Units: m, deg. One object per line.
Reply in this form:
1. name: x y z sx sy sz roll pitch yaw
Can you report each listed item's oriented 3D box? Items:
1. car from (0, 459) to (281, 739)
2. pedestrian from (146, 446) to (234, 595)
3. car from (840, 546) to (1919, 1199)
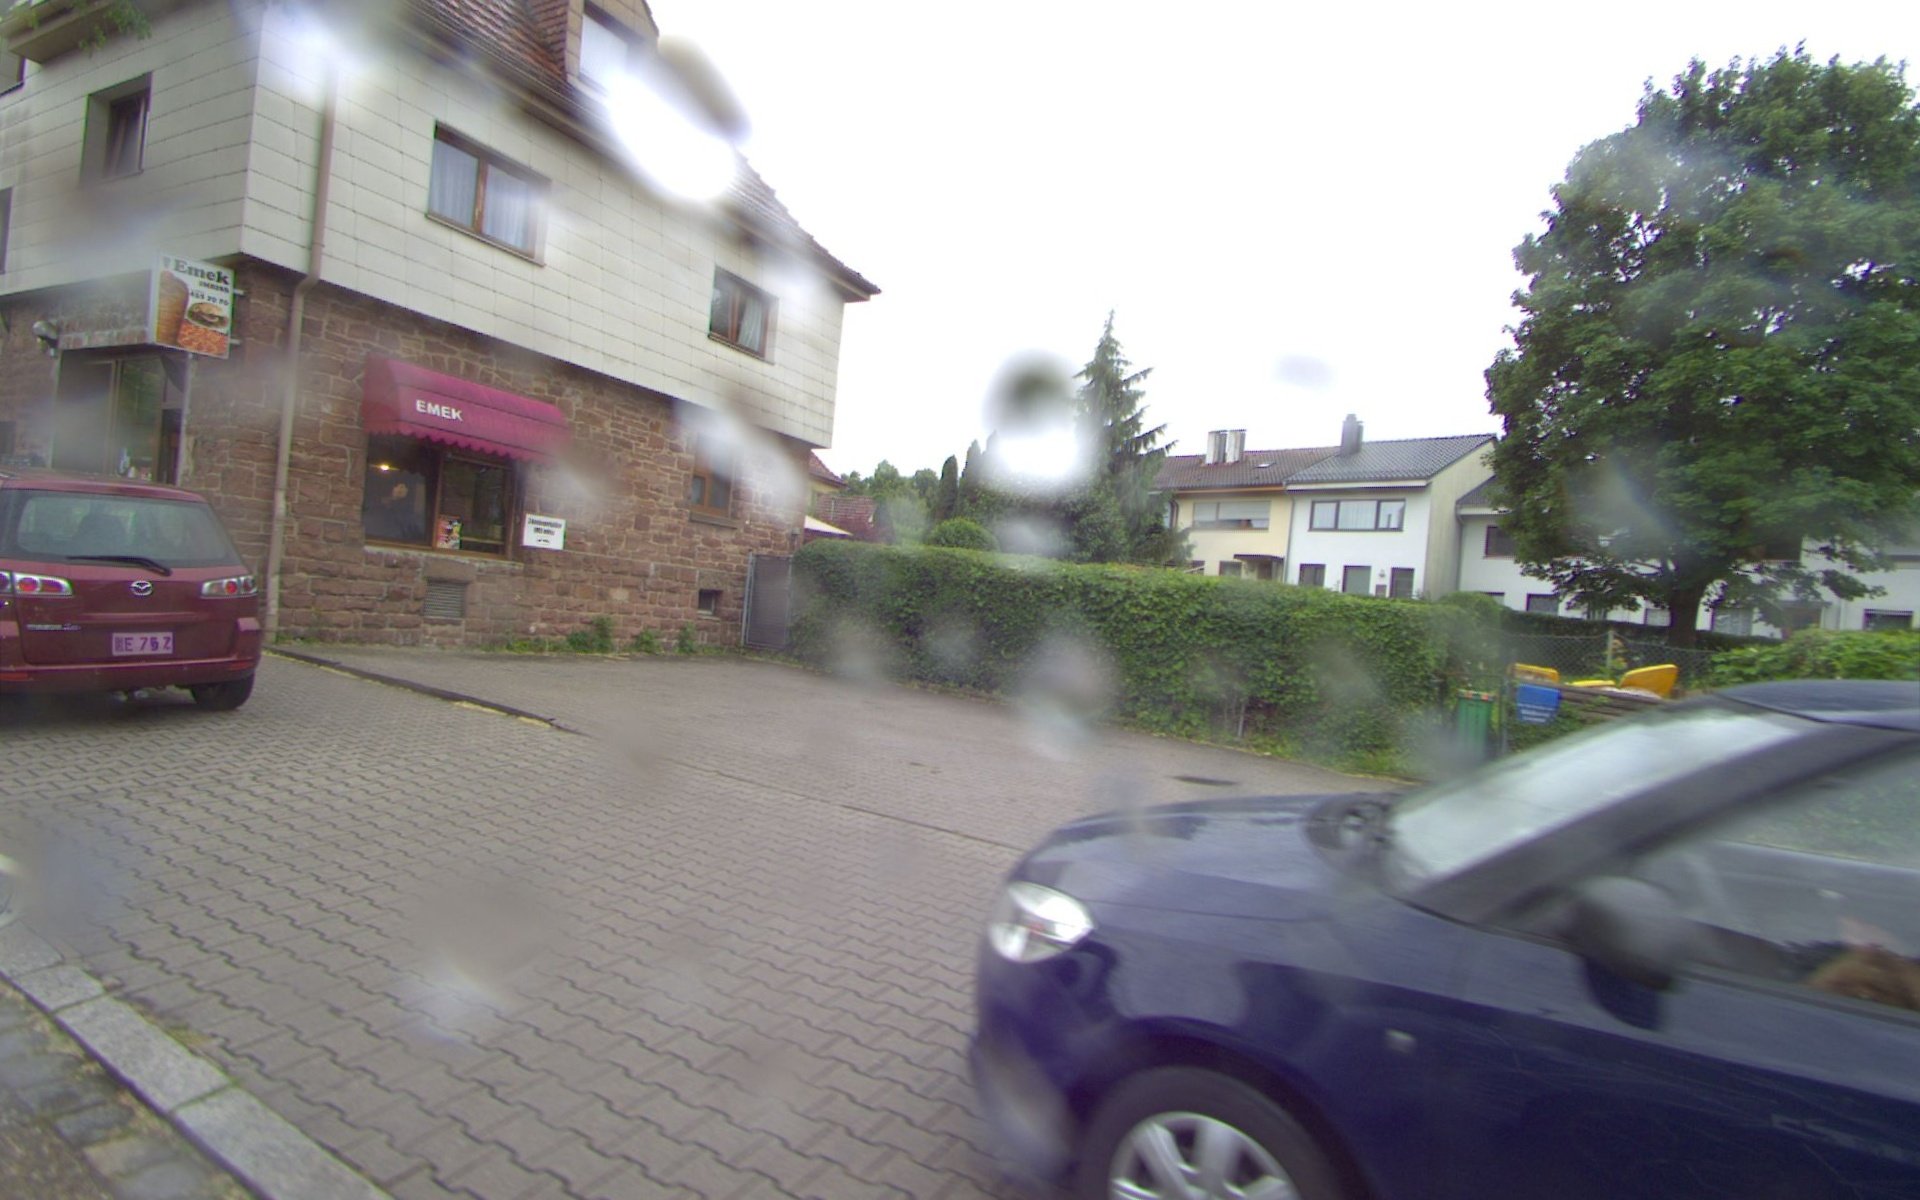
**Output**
1. car: -6.433 -0.185 6.805 3.565 1.511 1.584 8 3 29
2. pedestrian: -10.157 -1.036 13.276 0.475 1.862 0.638 7 0 32
3. car: 1.805 0.838 2.010 3.792 1.492 1.604 7 3 31
